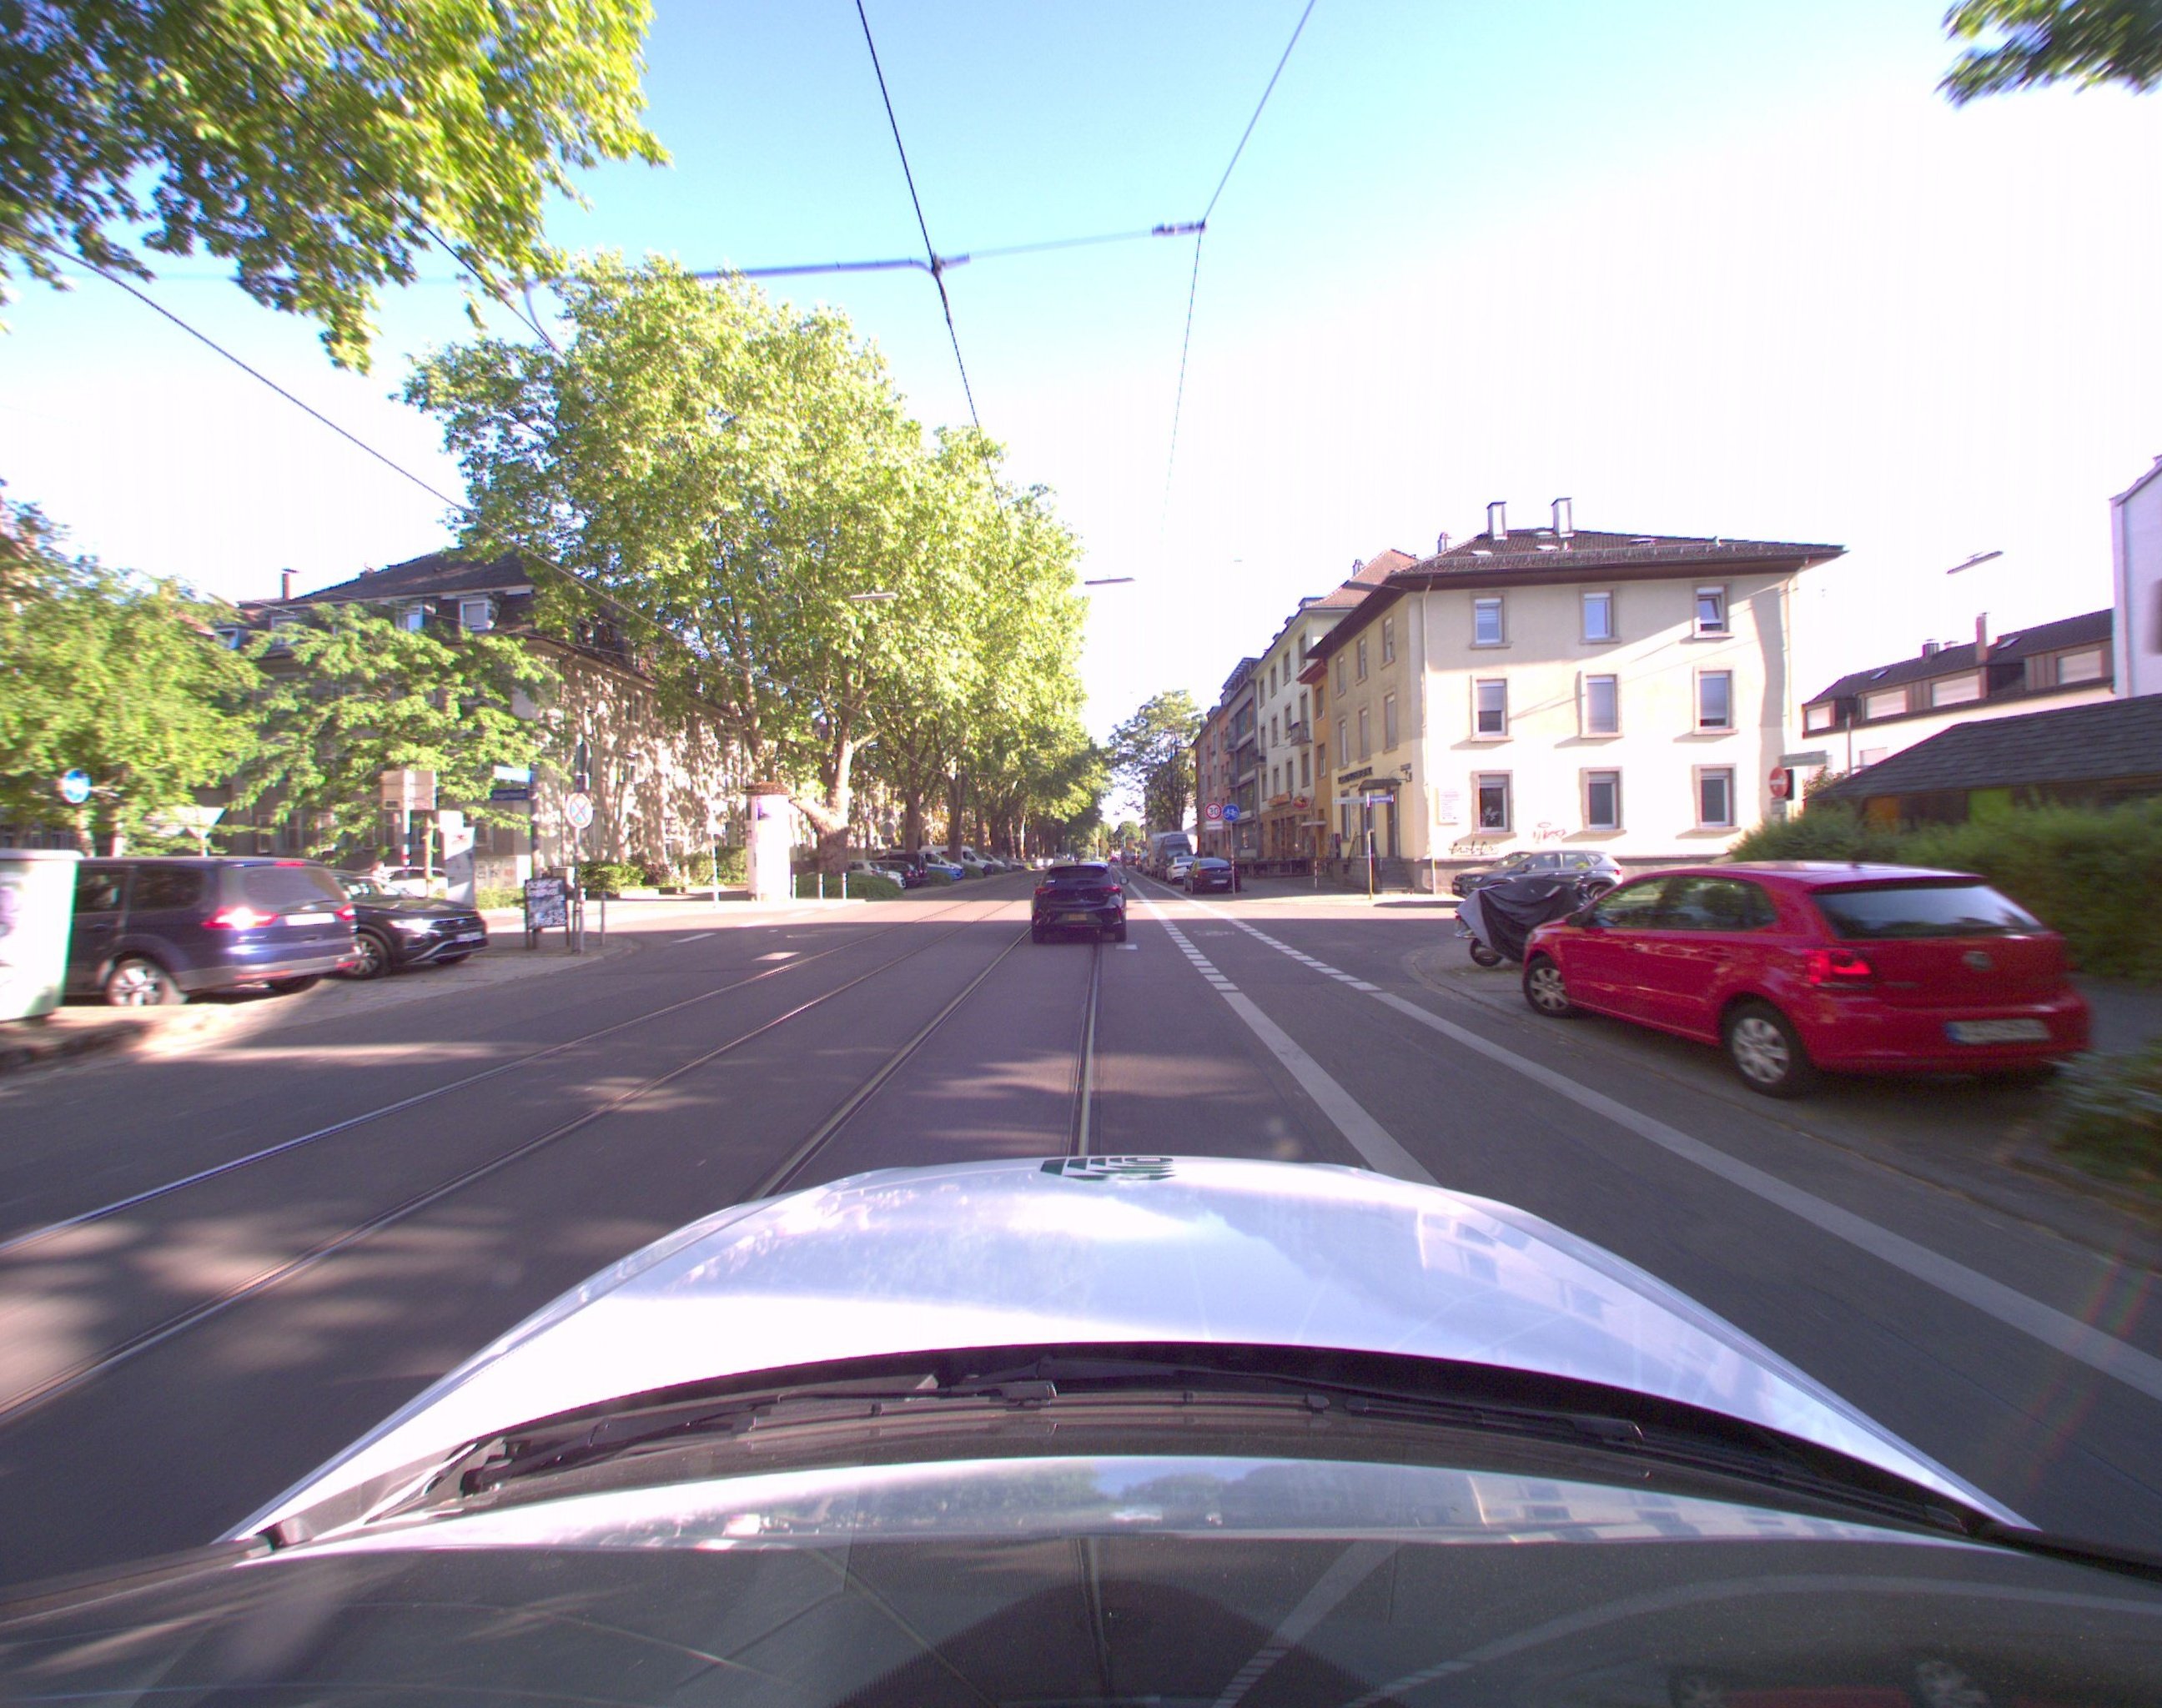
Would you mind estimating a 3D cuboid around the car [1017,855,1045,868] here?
[{"bbox_3d":[-7.660,1.173,124.944,3.965,2.014,2.004,0,0,8],"label":"car"}]

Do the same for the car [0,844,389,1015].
[{"bbox_3d":[-11.202,0.810,9.644,4.287,1.801,1.925,0,0,-1],"label":"car"}]

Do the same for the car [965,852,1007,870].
[{"bbox_3d":[-9.698,0.680,83.213,4.173,1.794,1.995,0,0,-8],"label":"car"}]

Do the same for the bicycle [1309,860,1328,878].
[{"bbox_3d":[11.124,0.687,38.183,0.408,0.789,1.792,0,0,2],"label":"bicycle"}]

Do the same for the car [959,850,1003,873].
[{"bbox_3d":[-9.216,0.685,75.382,3.984,2.014,1.995,0,0,-8],"label":"car"}]

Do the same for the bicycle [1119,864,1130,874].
[{"bbox_3d":[4.334,1.521,81.419,0.964,0.999,2.583,0,0,0],"label":"bicycle"}]

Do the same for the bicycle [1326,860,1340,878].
[{"bbox_3d":[11.430,0.681,36.996,0.471,0.789,1.798,0,0,13],"label":"bicycle"}]

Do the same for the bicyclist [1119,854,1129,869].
[{"bbox_3d":[4.332,0.768,81.377,0.955,1.499,1.094,0,0,0],"label":"bicyclist"}]

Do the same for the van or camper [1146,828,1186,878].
[{"bbox_3d":[5.823,-0.048,56.458,2.246,3.216,5.533,-2,0,2],"label":"van or camper"}]

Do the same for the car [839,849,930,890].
[{"bbox_3d":[-10.294,0.805,42.871,4.294,1.840,1.778,-4,-1,-6],"label":"car"}]

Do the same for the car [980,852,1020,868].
[{"bbox_3d":[-8.805,0.675,88.399,4.351,1.665,1.995,0,0,-8],"label":"car"}]

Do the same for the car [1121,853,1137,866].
[{"bbox_3d":[7.474,0.876,126.707,2.246,1.840,5.533,-2,0,2],"label":"car"}]

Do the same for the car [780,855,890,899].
[{"bbox_3d":[-10.777,1.004,35.932,4.294,1.593,1.778,-4,-1,-6],"label":"car"}]

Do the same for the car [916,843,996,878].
[{"bbox_3d":[-9.511,0.511,62.280,5.612,2.593,2.199,0,0,5],"label":"car"}]

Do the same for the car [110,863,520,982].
[{"bbox_3d":[-11.306,0.957,12.301,4.287,1.607,1.925,0,0,-1],"label":"car"}]

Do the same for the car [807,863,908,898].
[{"bbox_3d":[-10.507,1.241,38.507,4.294,1.290,1.707,-4,0,-6],"label":"car"}]

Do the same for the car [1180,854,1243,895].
[{"bbox_3d":[5.135,0.773,32.589,1.877,1.434,4.531,-3,0,2],"label":"car"}]

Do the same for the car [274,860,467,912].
[{"bbox_3d":[-23.871,1.021,27.648,1.844,1.592,4.755,0,0,11],"label":"car"}]

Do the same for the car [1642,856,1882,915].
[{"bbox_3d":[18.672,0.822,22.531,4.913,1.542,1.917,0,0,5],"label":"car"}]

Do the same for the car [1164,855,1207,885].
[{"bbox_3d":[5.406,0.833,42.684,1.797,1.434,4.001,-2,-1,1],"label":"car"}]

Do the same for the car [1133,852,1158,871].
[{"bbox_3d":[6.704,0.804,85.029,2.246,1.840,5.533,-2,0,2],"label":"car"}]

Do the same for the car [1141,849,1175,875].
[{"bbox_3d":[5.949,0.598,63.653,2.246,1.840,5.533,-2,0,2],"label":"car"}]

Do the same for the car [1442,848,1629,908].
[{"bbox_3d":[12.582,0.639,22.768,4.167,1.598,1.893,0,0,5],"label":"car"}]

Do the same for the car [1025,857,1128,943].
[{"bbox_3d":[-0.014,0.796,15.838,1.756,1.460,3.952,0,0,2],"label":"car"}]

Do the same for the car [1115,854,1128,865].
[{"bbox_3d":[7.238,0.962,146.054,2.246,1.840,5.533,-2,0,2],"label":"car"}]

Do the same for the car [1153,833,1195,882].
[{"bbox_3d":[5.659,0.200,49.891,2.077,2.772,4.699,-2,0,2],"label":"car"}]

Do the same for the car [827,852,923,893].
[{"bbox_3d":[-10.193,0.905,40.539,4.294,1.674,1.778,-4,-1,-6],"label":"car"}]

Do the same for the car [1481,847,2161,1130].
[{"bbox_3d":[5.040,0.745,6.455,1.697,1.423,3.977,-4,0,0],"label":"car"}]

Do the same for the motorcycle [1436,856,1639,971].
[{"bbox_3d":[5.767,0.751,10.468,2.073,1.358,0.928,-3,-1,18],"label":"motorcycle"}]

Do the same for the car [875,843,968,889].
[{"bbox_3d":[-9.647,0.699,49.560,5.017,2.374,2.082,-4,-1,1],"label":"car"}]
